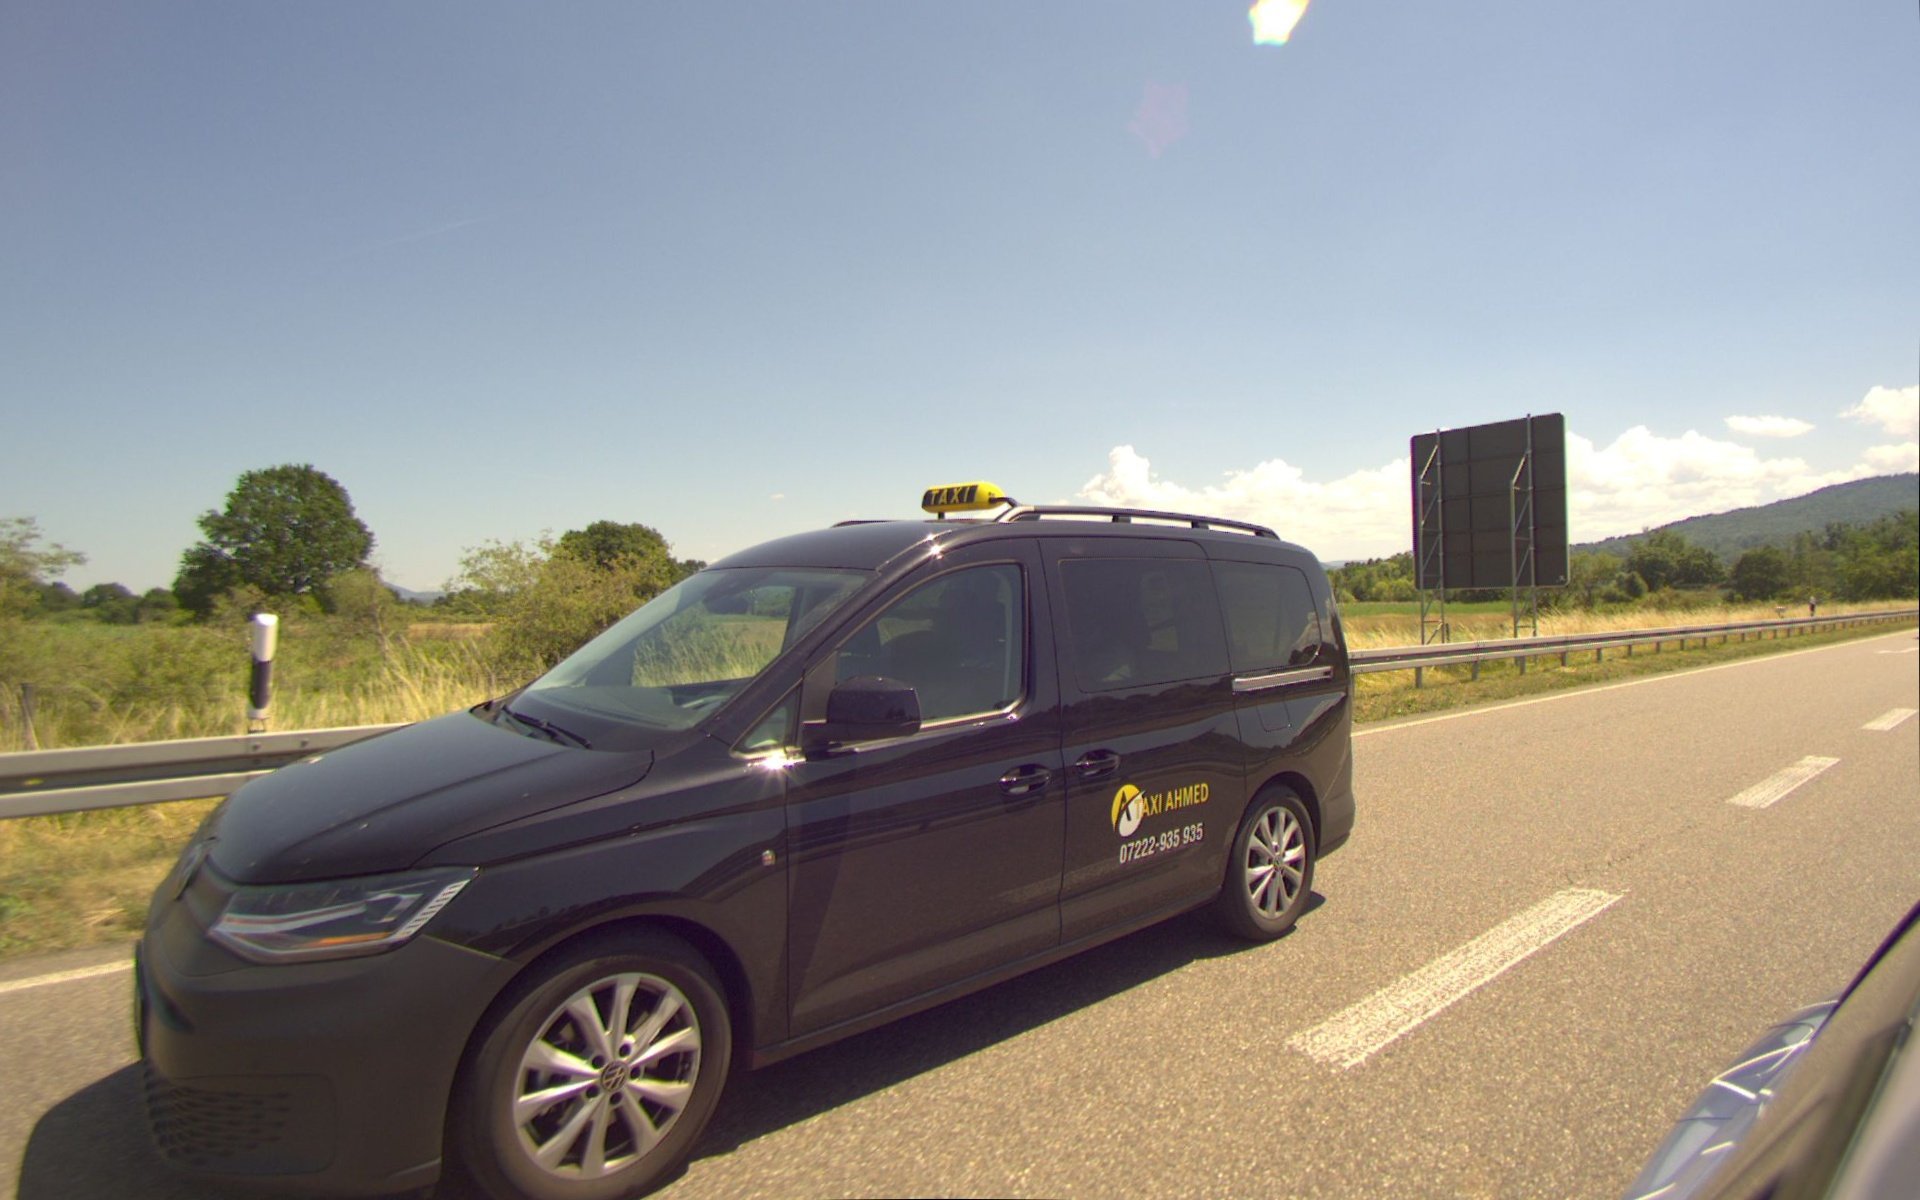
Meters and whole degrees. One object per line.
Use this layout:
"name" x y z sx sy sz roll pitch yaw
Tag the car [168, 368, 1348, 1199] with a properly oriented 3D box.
"car" -0.383 0.476 3.907 4.140 1.840 1.782 -1 0 -41
